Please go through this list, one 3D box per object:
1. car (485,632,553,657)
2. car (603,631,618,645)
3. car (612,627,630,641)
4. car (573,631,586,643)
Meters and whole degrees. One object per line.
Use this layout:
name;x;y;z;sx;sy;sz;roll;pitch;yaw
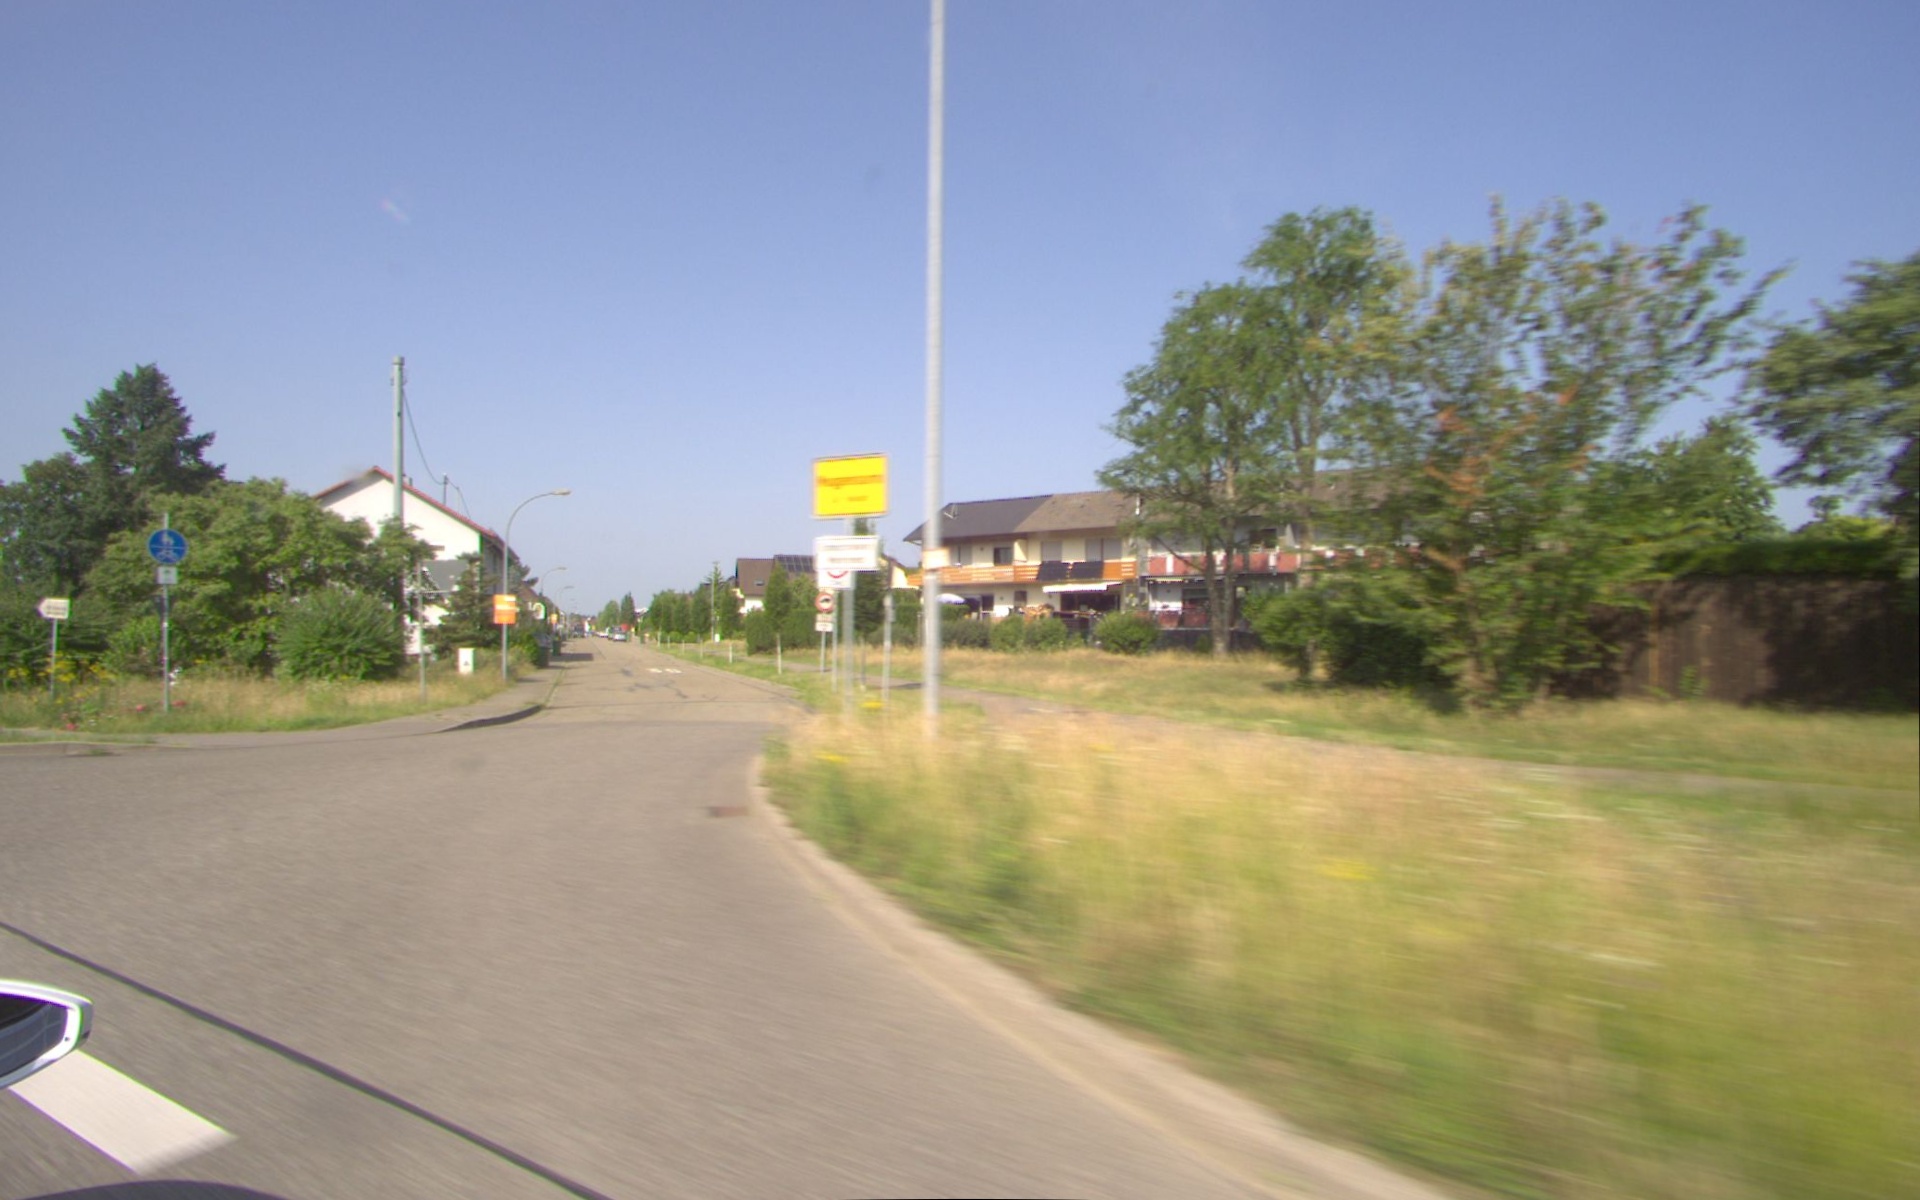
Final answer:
car;-32.855;3.314;74.758;4.381;1.719;1.769;2;-3;-16
car;-53.370;5.820;152.674;1.758;2.038;3.988;2;-3;-24
car;-45.705;4.545;134.899;1.868;1.793;3.988;2;-3;-24
car;-71.284;6.966;187.428;1.969;2.038;3.988;2;-3;-24
